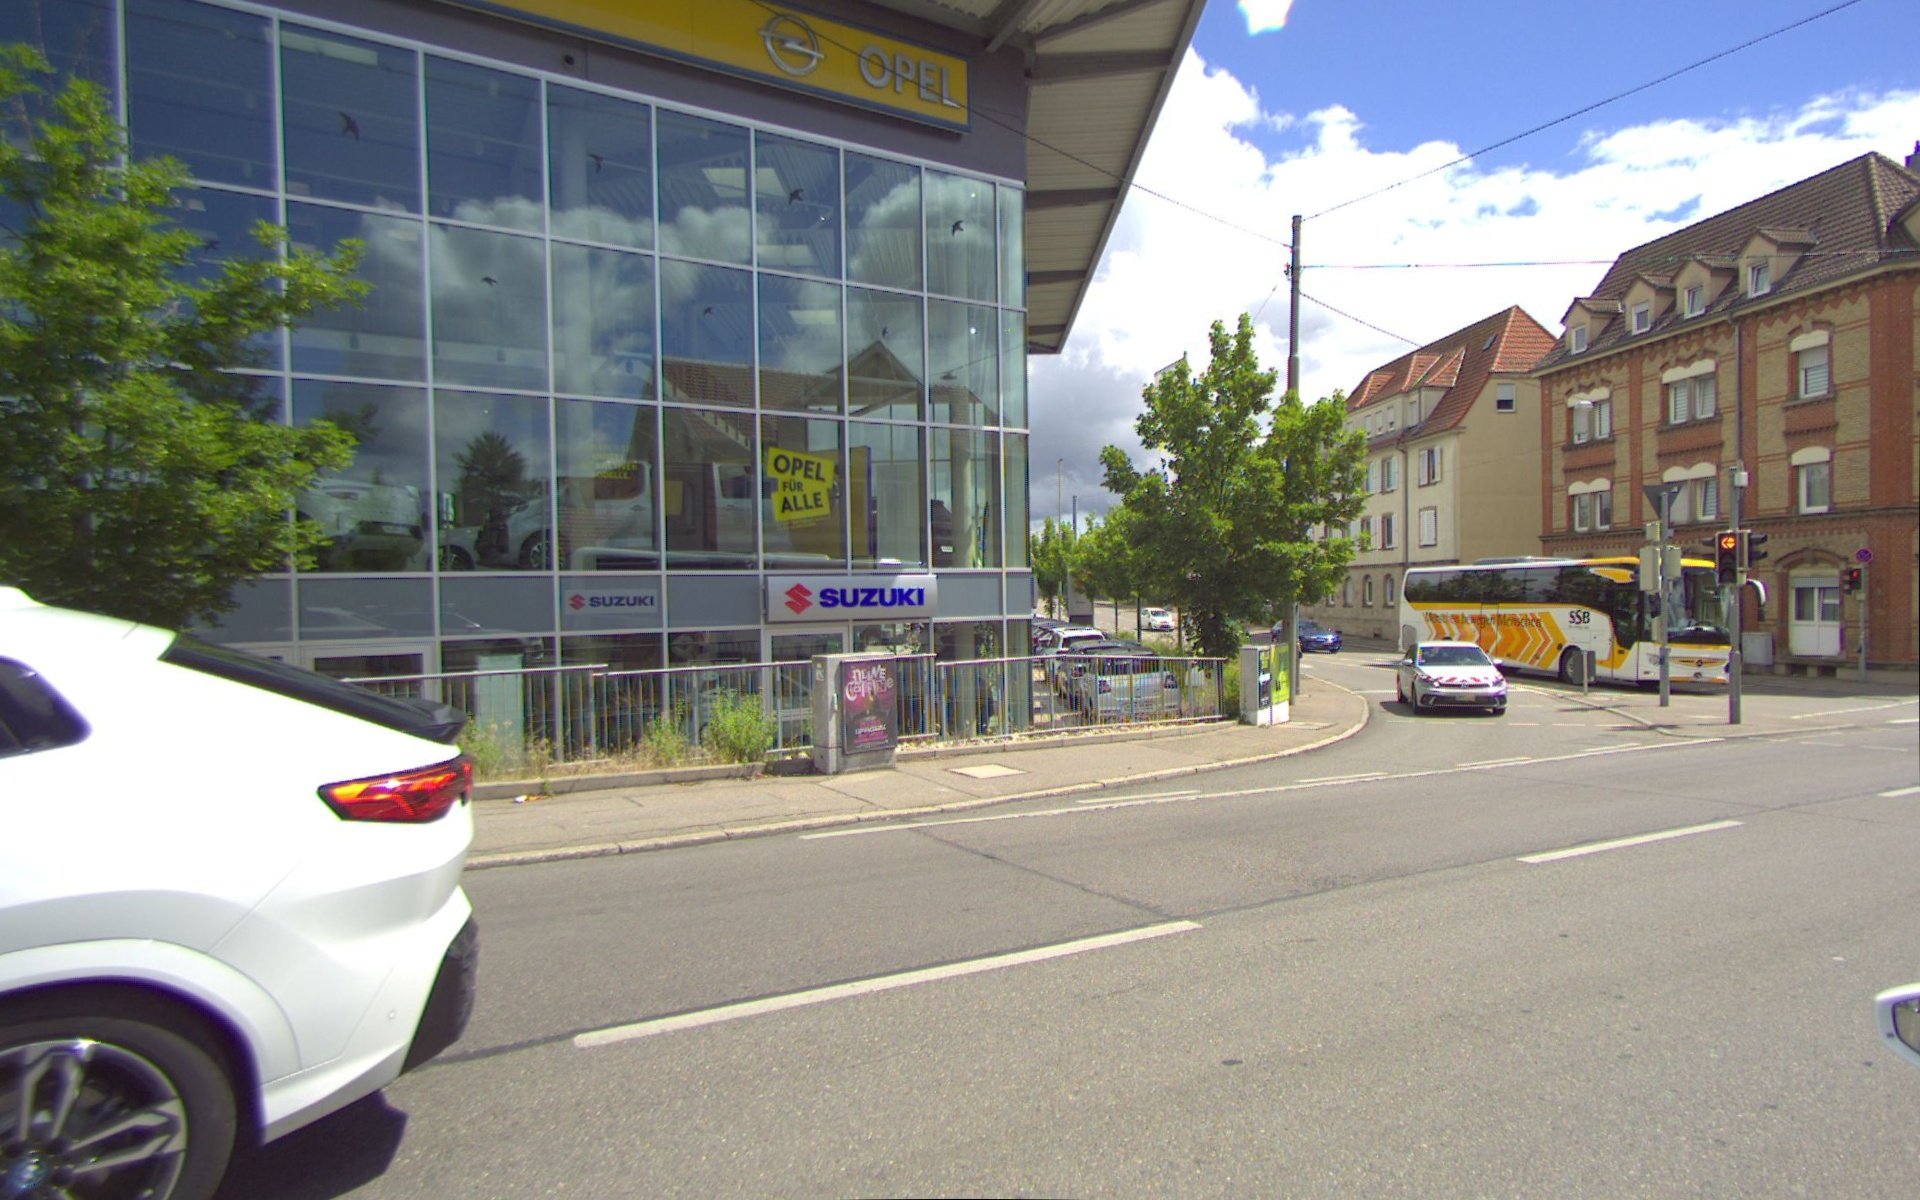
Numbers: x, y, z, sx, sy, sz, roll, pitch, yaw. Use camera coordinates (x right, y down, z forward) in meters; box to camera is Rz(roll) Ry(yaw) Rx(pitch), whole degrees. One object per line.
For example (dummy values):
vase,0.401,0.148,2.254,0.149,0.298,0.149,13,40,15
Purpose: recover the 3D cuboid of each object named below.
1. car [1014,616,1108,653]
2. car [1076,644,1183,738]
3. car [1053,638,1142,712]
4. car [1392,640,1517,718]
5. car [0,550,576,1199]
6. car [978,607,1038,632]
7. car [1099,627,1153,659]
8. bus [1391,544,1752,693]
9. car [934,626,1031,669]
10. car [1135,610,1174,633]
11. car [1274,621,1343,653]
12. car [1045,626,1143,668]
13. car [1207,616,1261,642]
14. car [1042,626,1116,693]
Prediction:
car,4.506,1.554,45.081,3.925,1.574,1.806,1,-1,-7
car,3.341,1.769,20.307,1.648,1.582,3.365,-1,0,1
car,3.301,1.769,24.616,1.584,1.547,3.499,-1,0,-2
car,10.411,1.629,21.396,1.847,1.436,3.622,-3,-2,18
car,-3.231,0.688,1.981,4.274,1.572,1.812,2,-3,-42
car,3.192,1.320,67.409,3.922,1.574,1.807,1,-1,-1
car,8.043,2.086,48.977,1.766,1.467,3.498,1,-1,-5
bus,17.865,0.528,31.099,2.719,3.670,12.253,1,-1,-6
car,0.799,1.719,36.935,3.432,1.467,1.799,-1,0,-3
car,13.649,1.517,70.661,1.874,1.574,3.999,1,-1,-2
car,16.397,1.712,47.478,1.717,1.428,3.999,1,-1,-3
car,4.969,1.736,37.472,3.430,1.497,1.800,1,-1,1
car,15.791,1.672,58.143,1.874,1.428,3.999,1,-1,-2
car,3.364,1.665,29.020,1.620,1.703,3.499,-1,0,-2
